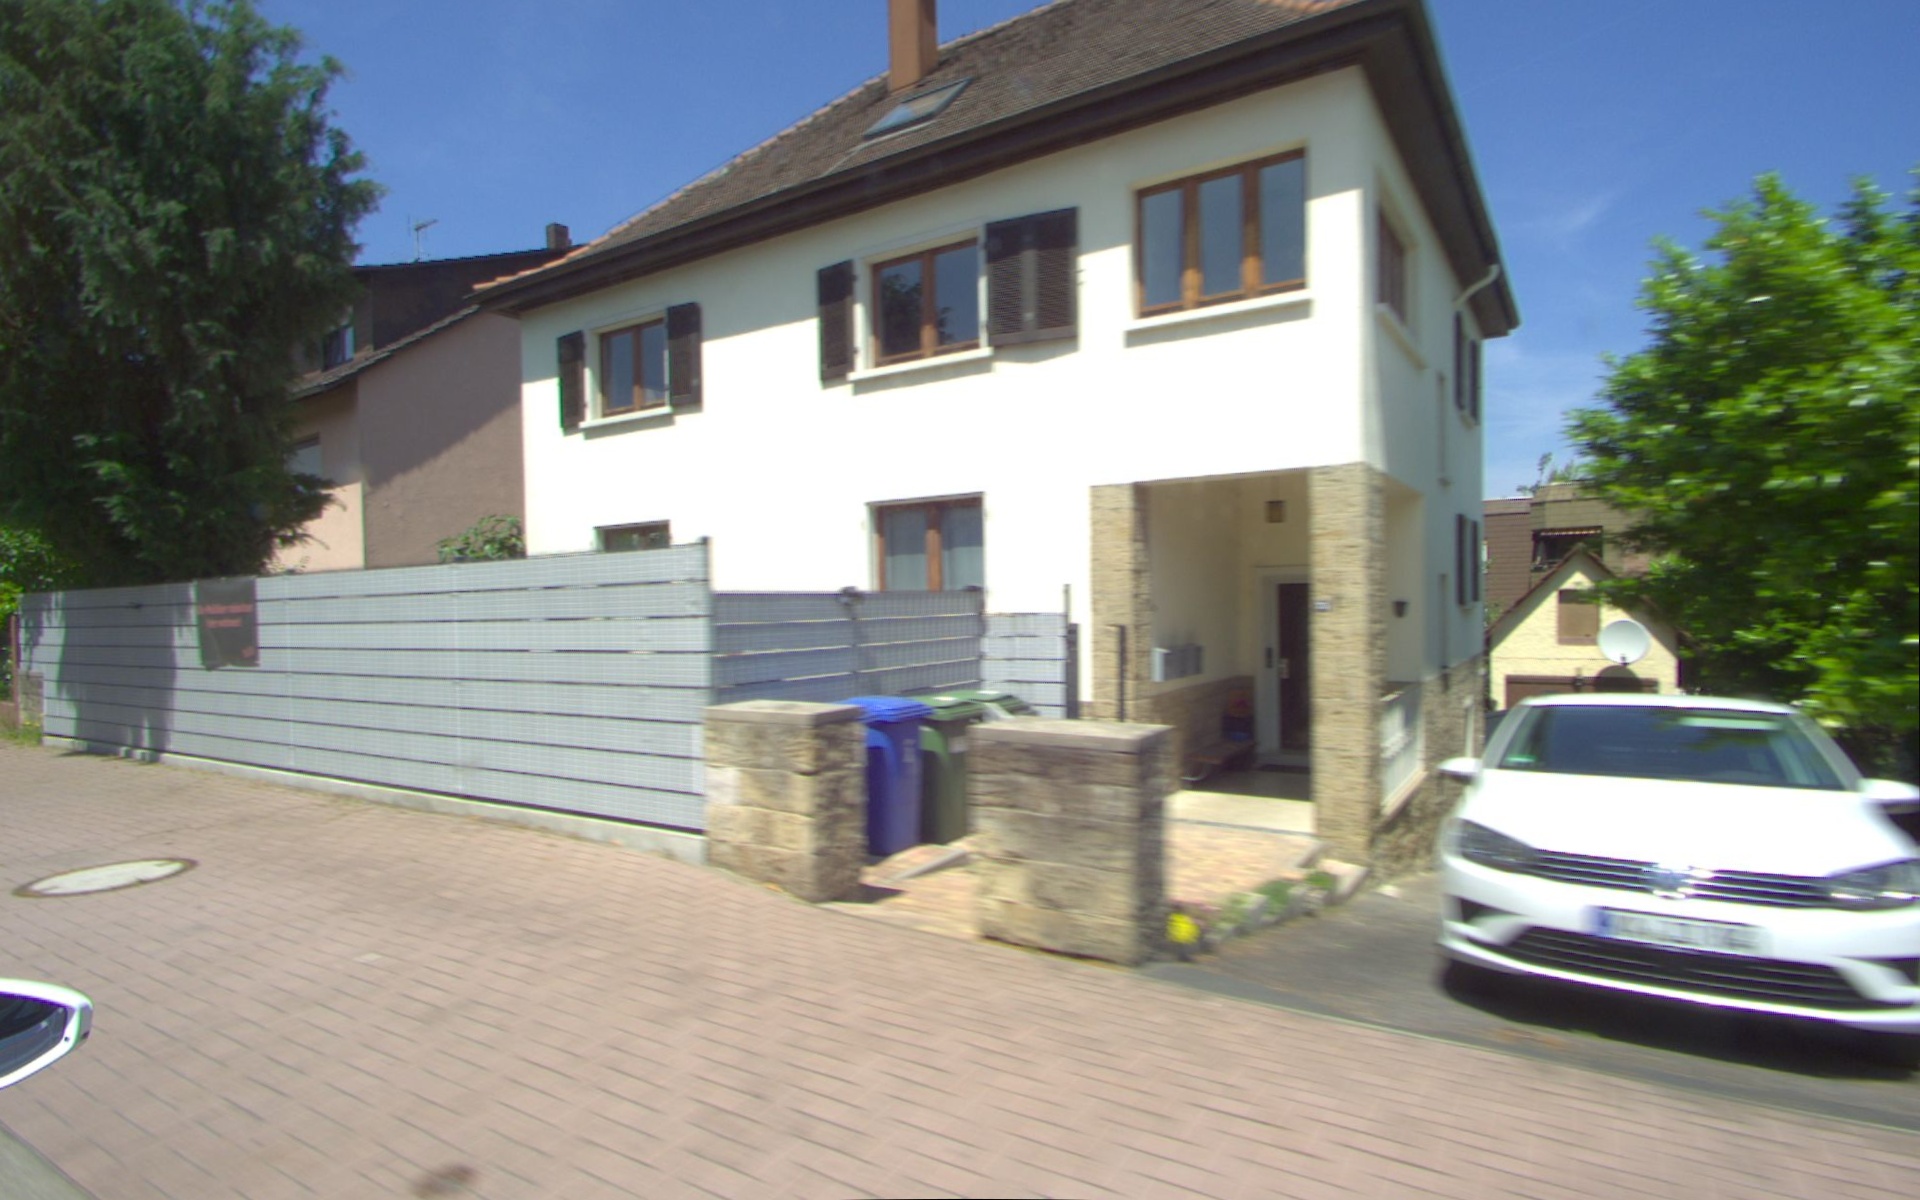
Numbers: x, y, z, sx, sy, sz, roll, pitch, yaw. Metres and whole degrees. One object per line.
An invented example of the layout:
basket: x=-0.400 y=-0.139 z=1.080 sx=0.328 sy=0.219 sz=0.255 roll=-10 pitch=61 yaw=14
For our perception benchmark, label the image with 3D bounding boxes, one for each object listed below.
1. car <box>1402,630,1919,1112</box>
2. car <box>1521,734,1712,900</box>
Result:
car: x=3.666 y=1.235 z=5.367 sx=1.615 sy=1.566 sz=3.958 roll=-1 pitch=-10 yaw=35
car: x=8.651 y=2.729 z=13.440 sx=1.845 sy=1.748 sz=3.988 roll=-1 pitch=-7 yaw=31
